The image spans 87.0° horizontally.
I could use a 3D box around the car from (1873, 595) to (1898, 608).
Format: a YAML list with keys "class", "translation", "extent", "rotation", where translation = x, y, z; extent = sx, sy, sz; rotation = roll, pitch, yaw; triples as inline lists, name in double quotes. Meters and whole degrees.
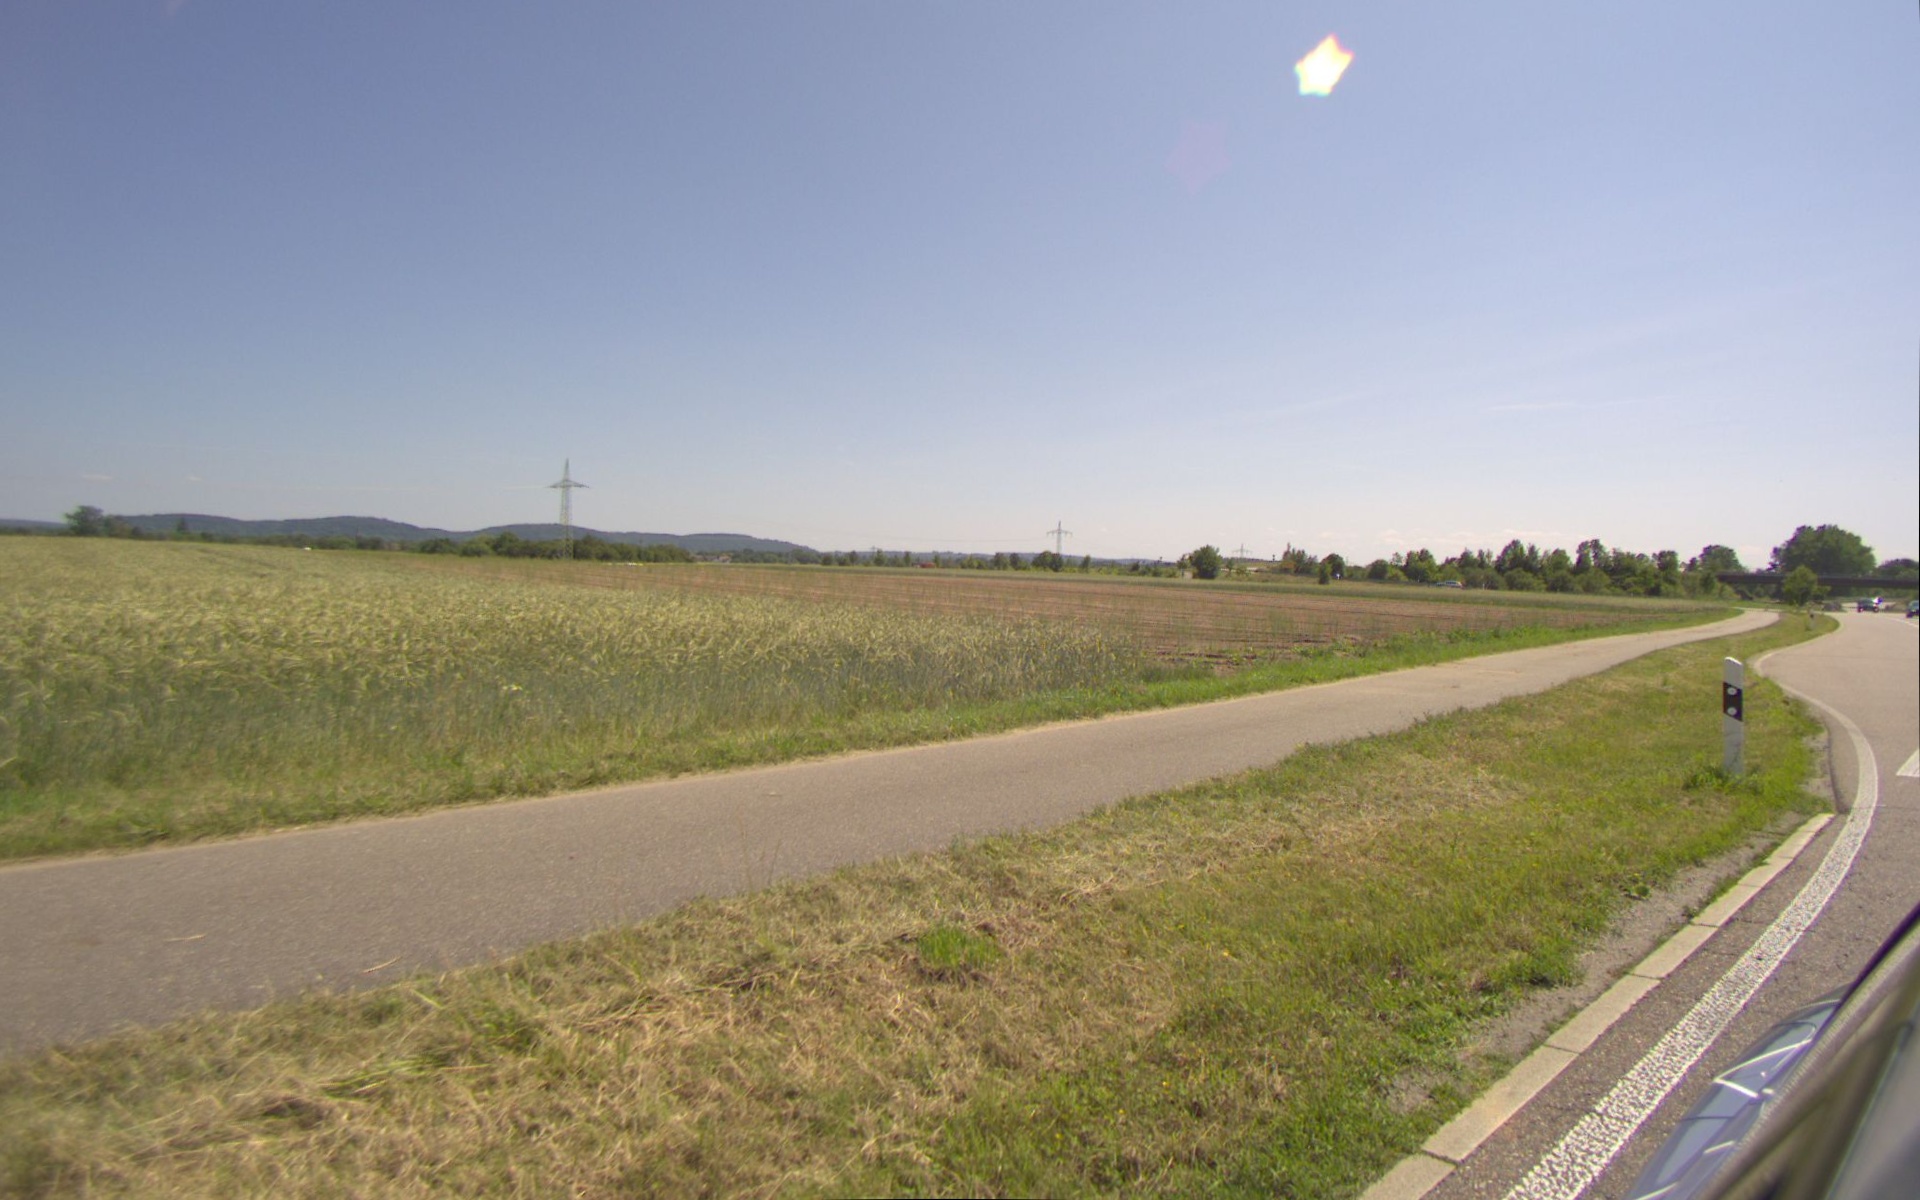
- class: "car"
  translation: [115.267, 0.155, 126.082]
  extent: [1.975, 1.616, 5.326]
  rotation: [1, 1, 39]
